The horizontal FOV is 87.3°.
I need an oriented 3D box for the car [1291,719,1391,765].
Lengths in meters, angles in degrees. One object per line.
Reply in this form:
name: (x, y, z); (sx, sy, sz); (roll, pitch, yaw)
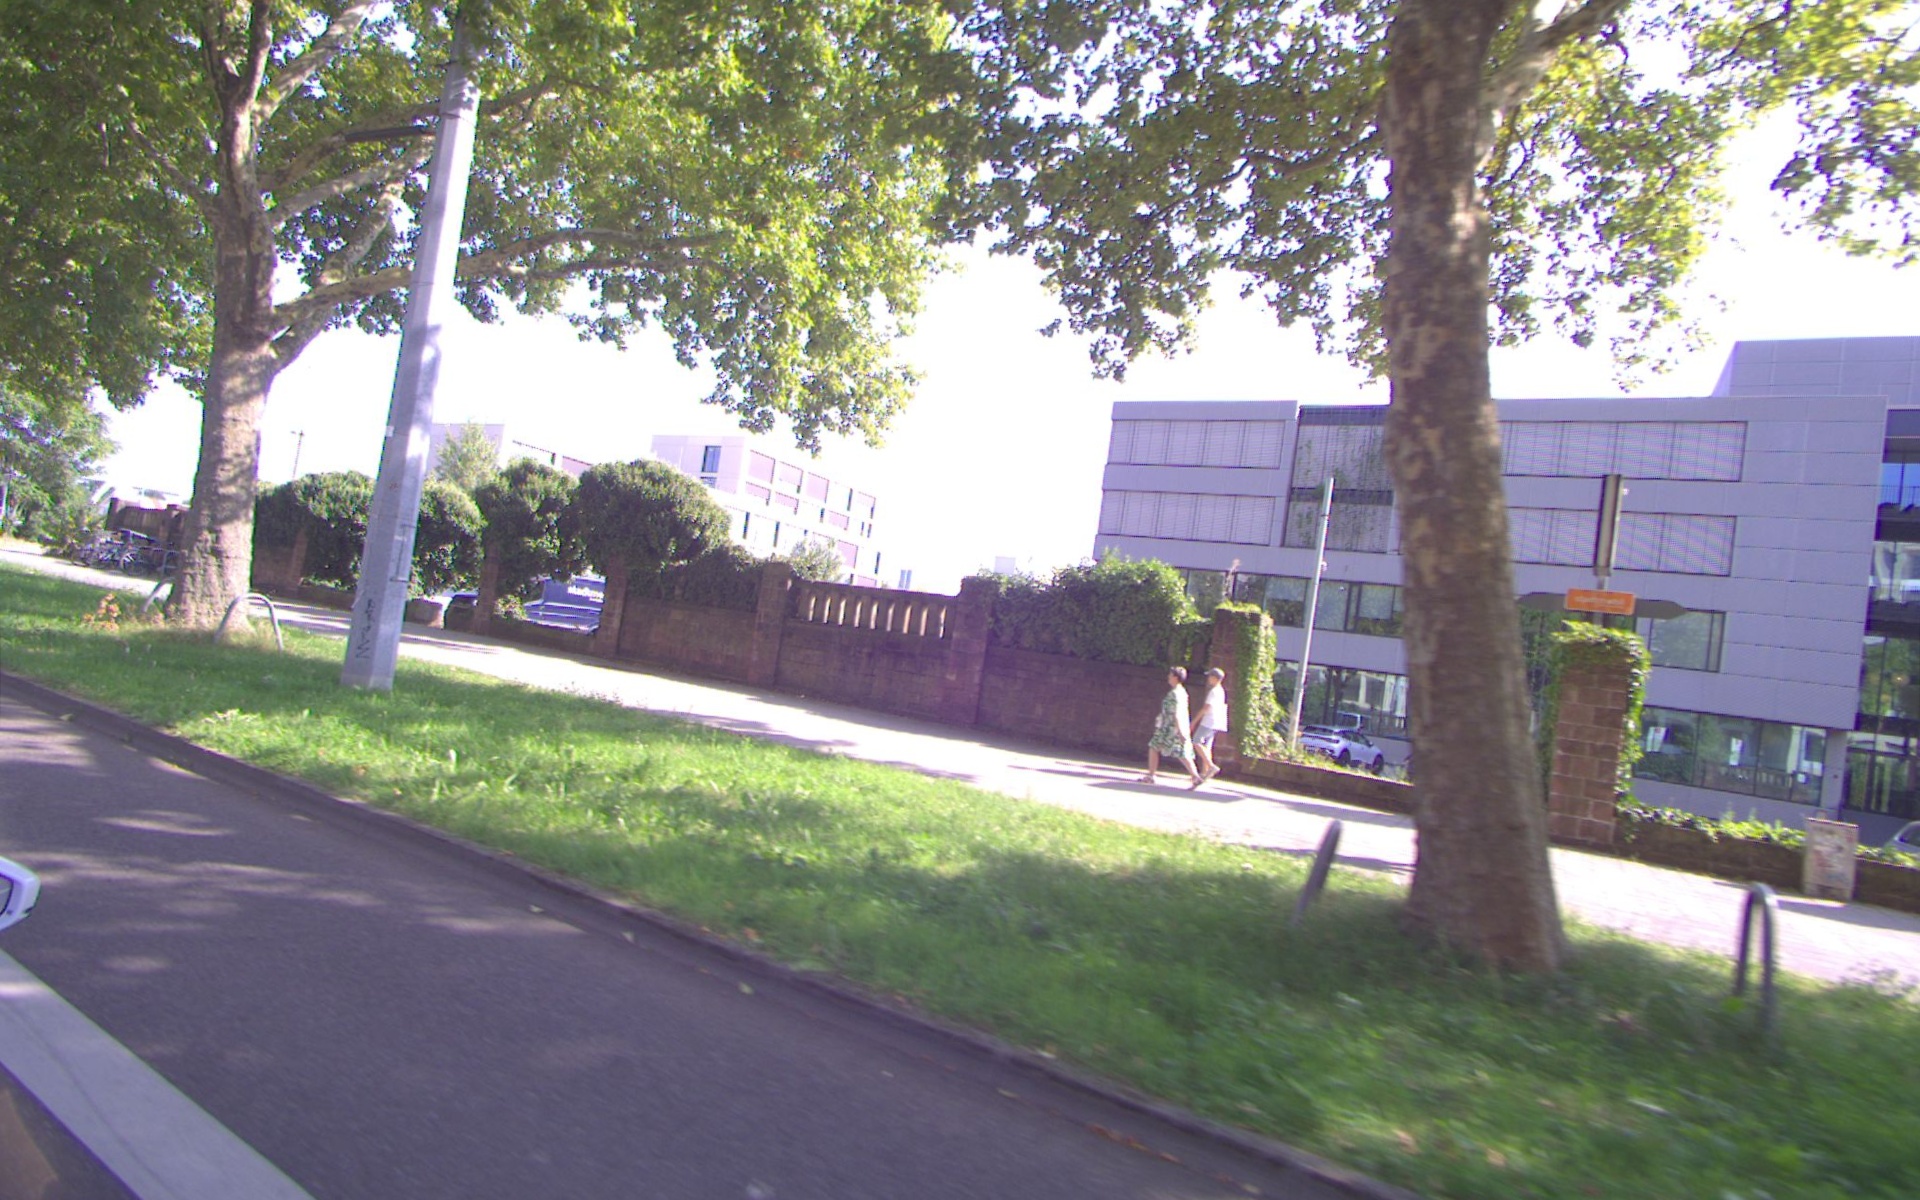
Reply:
car: (14.901, 5.541, 39.219); (4.461, 1.308, 1.825); (11, -4, -43)

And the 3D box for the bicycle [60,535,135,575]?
bicycle: (-26.650, -1.389, 31.111); (1.634, 0.981, 0.505); (8, -1, -11)

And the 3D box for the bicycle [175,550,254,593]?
bicycle: (-21.138, -0.801, 28.555); (0.498, 0.981, 1.659); (7, -2, 32)

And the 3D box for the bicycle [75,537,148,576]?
bicycle: (-26.835, -1.370, 31.819); (1.634, 0.981, 0.505); (8, -1, -11)

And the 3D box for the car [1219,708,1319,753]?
car: (12.500, 5.267, 40.573); (4.461, 1.308, 1.825); (11, -4, -43)

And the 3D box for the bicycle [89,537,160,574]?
bicycle: (-27.550, -1.450, 33.209); (0.498, 0.981, 1.658); (7, -2, 34)

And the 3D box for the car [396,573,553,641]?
car: (-17.257, 0.291, 35.966); (1.946, 1.693, 4.529); (6, -4, 35)

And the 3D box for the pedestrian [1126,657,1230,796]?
pedestrian: (2.833, 1.628, 13.068); (0.931, 1.622, 0.807); (7, -1, 32)

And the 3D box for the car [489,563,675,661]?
car: (-12.129, 0.467, 32.654); (2.096, 2.394, 5.141); (7, -3, 34)

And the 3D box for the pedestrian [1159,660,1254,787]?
pedestrian: (3.487, 1.727, 14.232); (0.931, 1.622, 0.807); (7, -1, 32)

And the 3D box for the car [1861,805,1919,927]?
car: (15.336, 4.164, 15.123); (1.736, 1.607, 4.348); (7, -4, 31)

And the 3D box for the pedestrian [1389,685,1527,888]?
pedestrian: (4.659, 1.693, 9.395); (0.931, 1.655, 0.807); (7, -1, 32)

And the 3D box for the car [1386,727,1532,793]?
car: (16.383, 5.254, 33.018); (4.432, 1.528, 1.837); (10, -3, -25)

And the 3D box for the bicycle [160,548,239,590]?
bicycle: (-21.897, -0.873, 28.986); (0.498, 0.981, 1.657); (6, -2, 36)

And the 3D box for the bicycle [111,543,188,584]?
bicycle: (-24.265, -1.093, 30.135); (0.498, 0.981, 1.657); (6, -2, 36)
